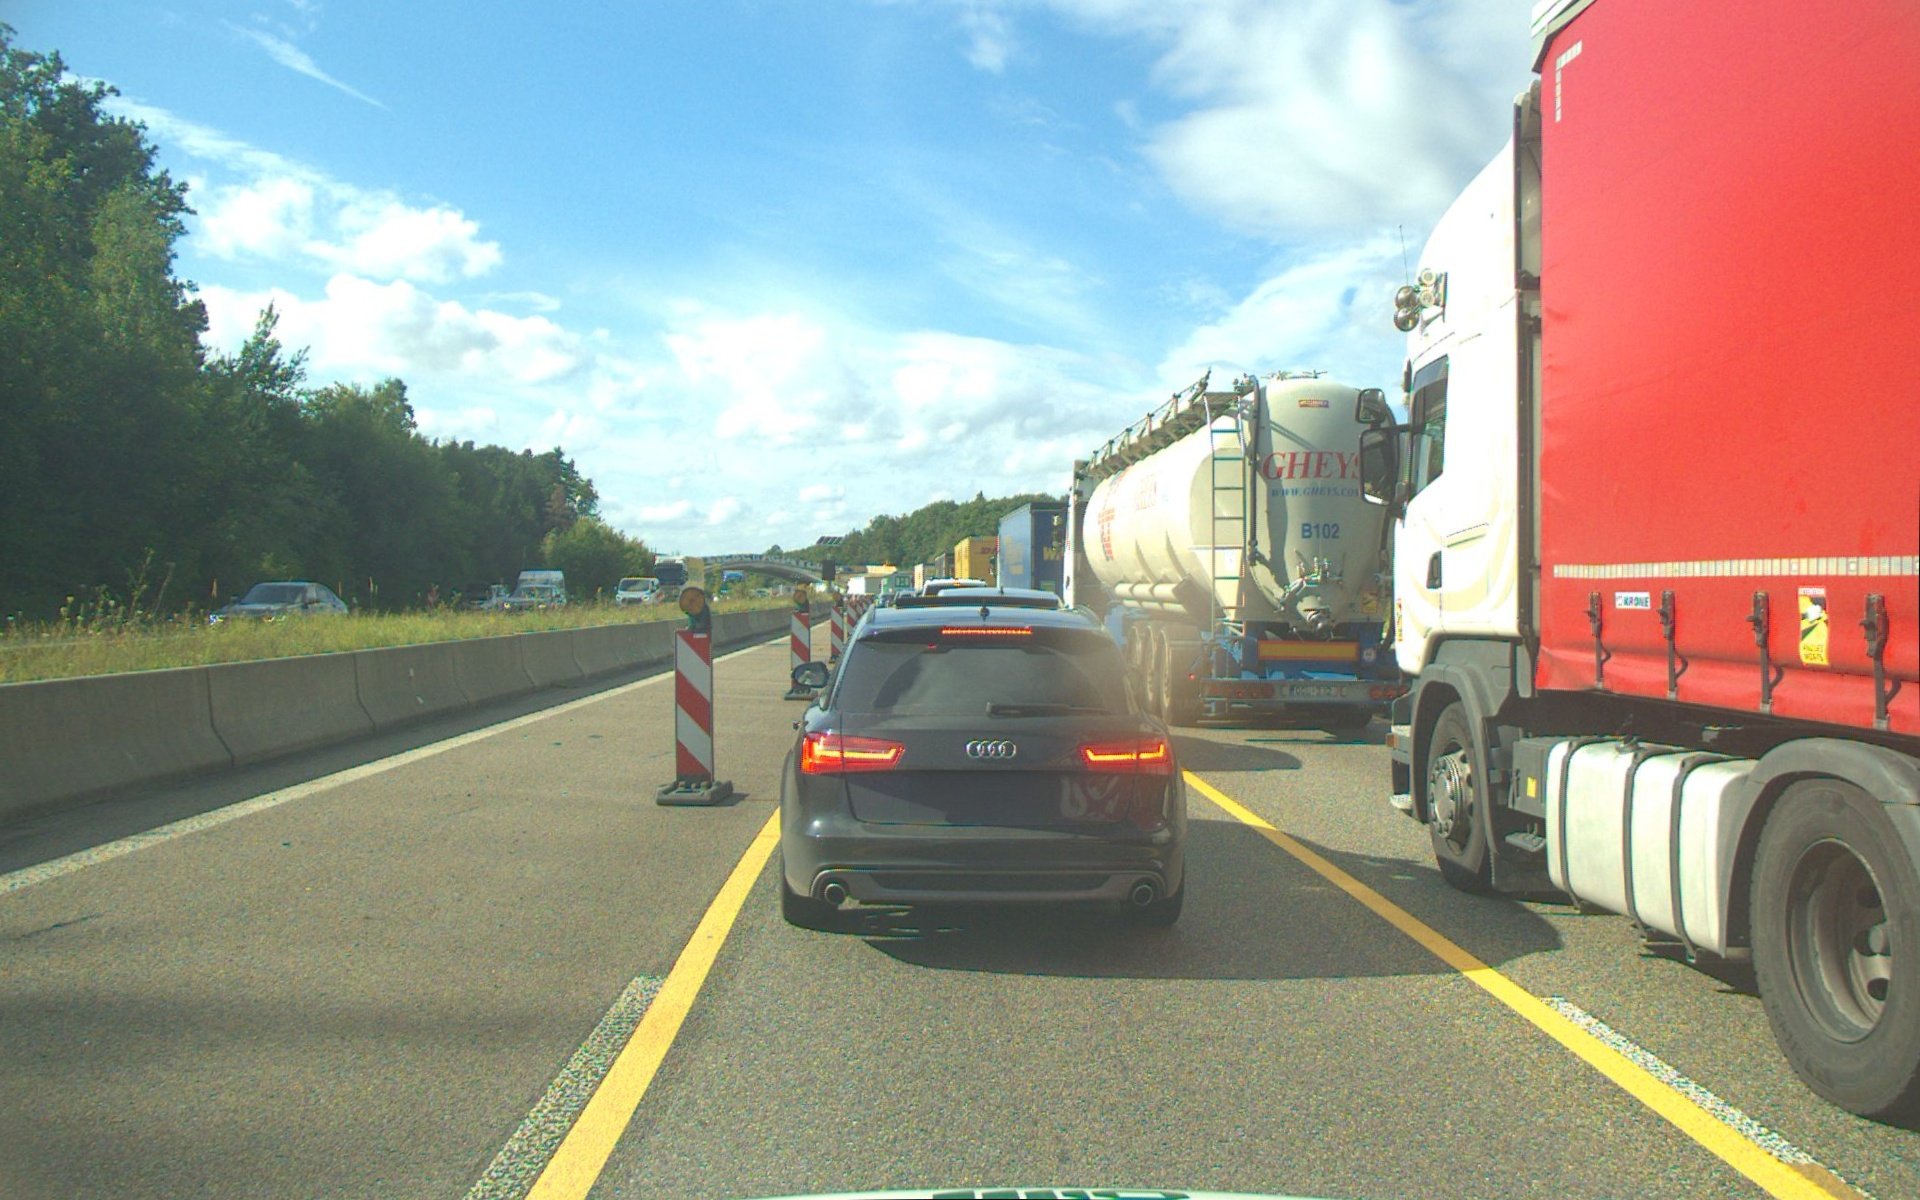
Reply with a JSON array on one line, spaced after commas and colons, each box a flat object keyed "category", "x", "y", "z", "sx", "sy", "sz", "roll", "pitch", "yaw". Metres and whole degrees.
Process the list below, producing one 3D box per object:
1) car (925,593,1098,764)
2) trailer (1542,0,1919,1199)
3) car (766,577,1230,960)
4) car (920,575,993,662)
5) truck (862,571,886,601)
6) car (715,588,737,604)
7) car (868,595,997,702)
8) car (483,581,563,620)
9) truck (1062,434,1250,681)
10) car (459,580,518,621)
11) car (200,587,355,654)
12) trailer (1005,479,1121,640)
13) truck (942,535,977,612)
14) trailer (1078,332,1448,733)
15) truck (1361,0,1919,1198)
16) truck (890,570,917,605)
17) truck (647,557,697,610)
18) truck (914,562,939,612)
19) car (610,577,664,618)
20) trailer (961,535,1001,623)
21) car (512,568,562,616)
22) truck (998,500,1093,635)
[{"category": "car", "x": 0.430, "y": 0.696, "z": 16.139, "sx": 1.493, "sy": 1.464, "sz": 3.284, "roll": 1, "pitch": 0, "yaw": -1}, {"category": "trailer", "x": 3.991, "y": -0.399, "z": 0.356, "sx": 2.645, "sy": 4.038, "sz": 13.413, "roll": 1, "pitch": 0, "yaw": -1}, {"category": "car", "x": 0.124, "y": 0.673, "z": 8.499, "sx": 1.811, "sy": 1.489, "sz": 3.999, "roll": 1, "pitch": 0, "yaw": -1}, {"category": "car", "x": -0.094, "y": 0.403, "z": 37.468, "sx": 1.549, "sy": 1.869, "sz": 3.111, "roll": 1, "pitch": 0, "yaw": -1}, {"category": "truck", "x": -12.426, "y": -2.052, "z": 239.347, "sx": 3.239, "sy": 4.248, "sz": 9.694, "roll": 1, "pitch": 0, "yaw": -4}, {"category": "car", "x": -25.057, "y": -0.405, "z": 177.279, "sx": 1.751, "sy": 1.587, "sz": 3.999, "roll": 1, "pitch": 0, "yaw": -1}, {"category": "car", "x": -0.395, "y": 0.663, "z": 24.199, "sx": 1.716, "sy": 1.421, "sz": 3.607, "roll": 1, "pitch": 0, "yaw": -1}, {"category": "car", "x": -16.539, "y": 0.018, "z": 62.842, "sx": 1.918, "sy": 1.386, "sz": 4.287, "roll": 1, "pitch": 0, "yaw": -1}, {"category": "truck", "x": 3.425, "y": -0.691, "z": 30.249, "sx": 2.605, "sy": 4.041, "sz": 5.777, "roll": 1, "pitch": 0, "yaw": -1}, {"category": "car", "x": -24.904, "y": 0.042, "z": 87.458, "sx": 1.953, "sy": 2.049, "sz": 3.999, "roll": 1, "pitch": 0, "yaw": -1}, {"category": "car", "x": -15.481, "y": 0.459, "z": 37.765, "sx": 1.743, "sy": 1.411, "sz": 4.309, "roll": 1, "pitch": 0, "yaw": -1}, {"category": "trailer", "x": 3.045, "y": -1.117, "z": 51.790, "sx": 2.748, "sy": 4.490, "sz": 10.430, "roll": 1, "pitch": 0, "yaw": -1}, {"category": "truck", "x": -0.086, "y": -1.756, "z": 112.794, "sx": 1.953, "sy": 5.000, "sz": 9.558, "roll": 1, "pitch": 0, "yaw": -2}, {"category": "trailer", "x": 3.523, "y": -0.695, "z": 23.068, "sx": 2.590, "sy": 4.012, "sz": 12.595, "roll": 1, "pitch": 0, "yaw": -1}, {"category": "truck", "x": 3.801, "y": -0.423, "z": 7.021, "sx": 2.614, "sy": 4.029, "sz": 5.709, "roll": 1, "pitch": 0, "yaw": -2}, {"category": "truck", "x": -7.174, "y": -1.560, "z": 207.830, "sx": 3.238, "sy": 4.248, "sz": 9.696, "roll": 1, "pitch": 0, "yaw": -3}, {"category": "truck", "x": -22.282, "y": -1.241, "z": 128.189, "sx": 2.769, "sy": 3.977, "sz": 5.947, "roll": 1, "pitch": 0, "yaw": -1}, {"category": "truck", "x": -2.974, "y": -1.096, "z": 146.254, "sx": 2.094, "sy": 4.332, "sz": 7.069, "roll": 1, "pitch": 0, "yaw": -1}, {"category": "car", "x": -17.137, "y": -0.120, "z": 87.977, "sx": 1.953, "sy": 2.049, "sz": 4.830, "roll": 1, "pitch": 0, "yaw": -1}, {"category": "trailer", "x": 0.946, "y": -0.949, "z": 79.147, "sx": 1.584, "sy": 3.987, "sz": 6.487, "roll": 1, "pitch": 0, "yaw": -2}, {"category": "car", "x": -24.854, "y": -0.444, "z": 97.322, "sx": 2.208, "sy": 2.689, "sz": 5.010, "roll": 1, "pitch": 0, "yaw": -8}, {"category": "truck", "x": 2.925, "y": -1.062, "z": 58.688, "sx": 2.749, "sy": 4.446, "sz": 7.790, "roll": 1, "pitch": 0, "yaw": -1}]
